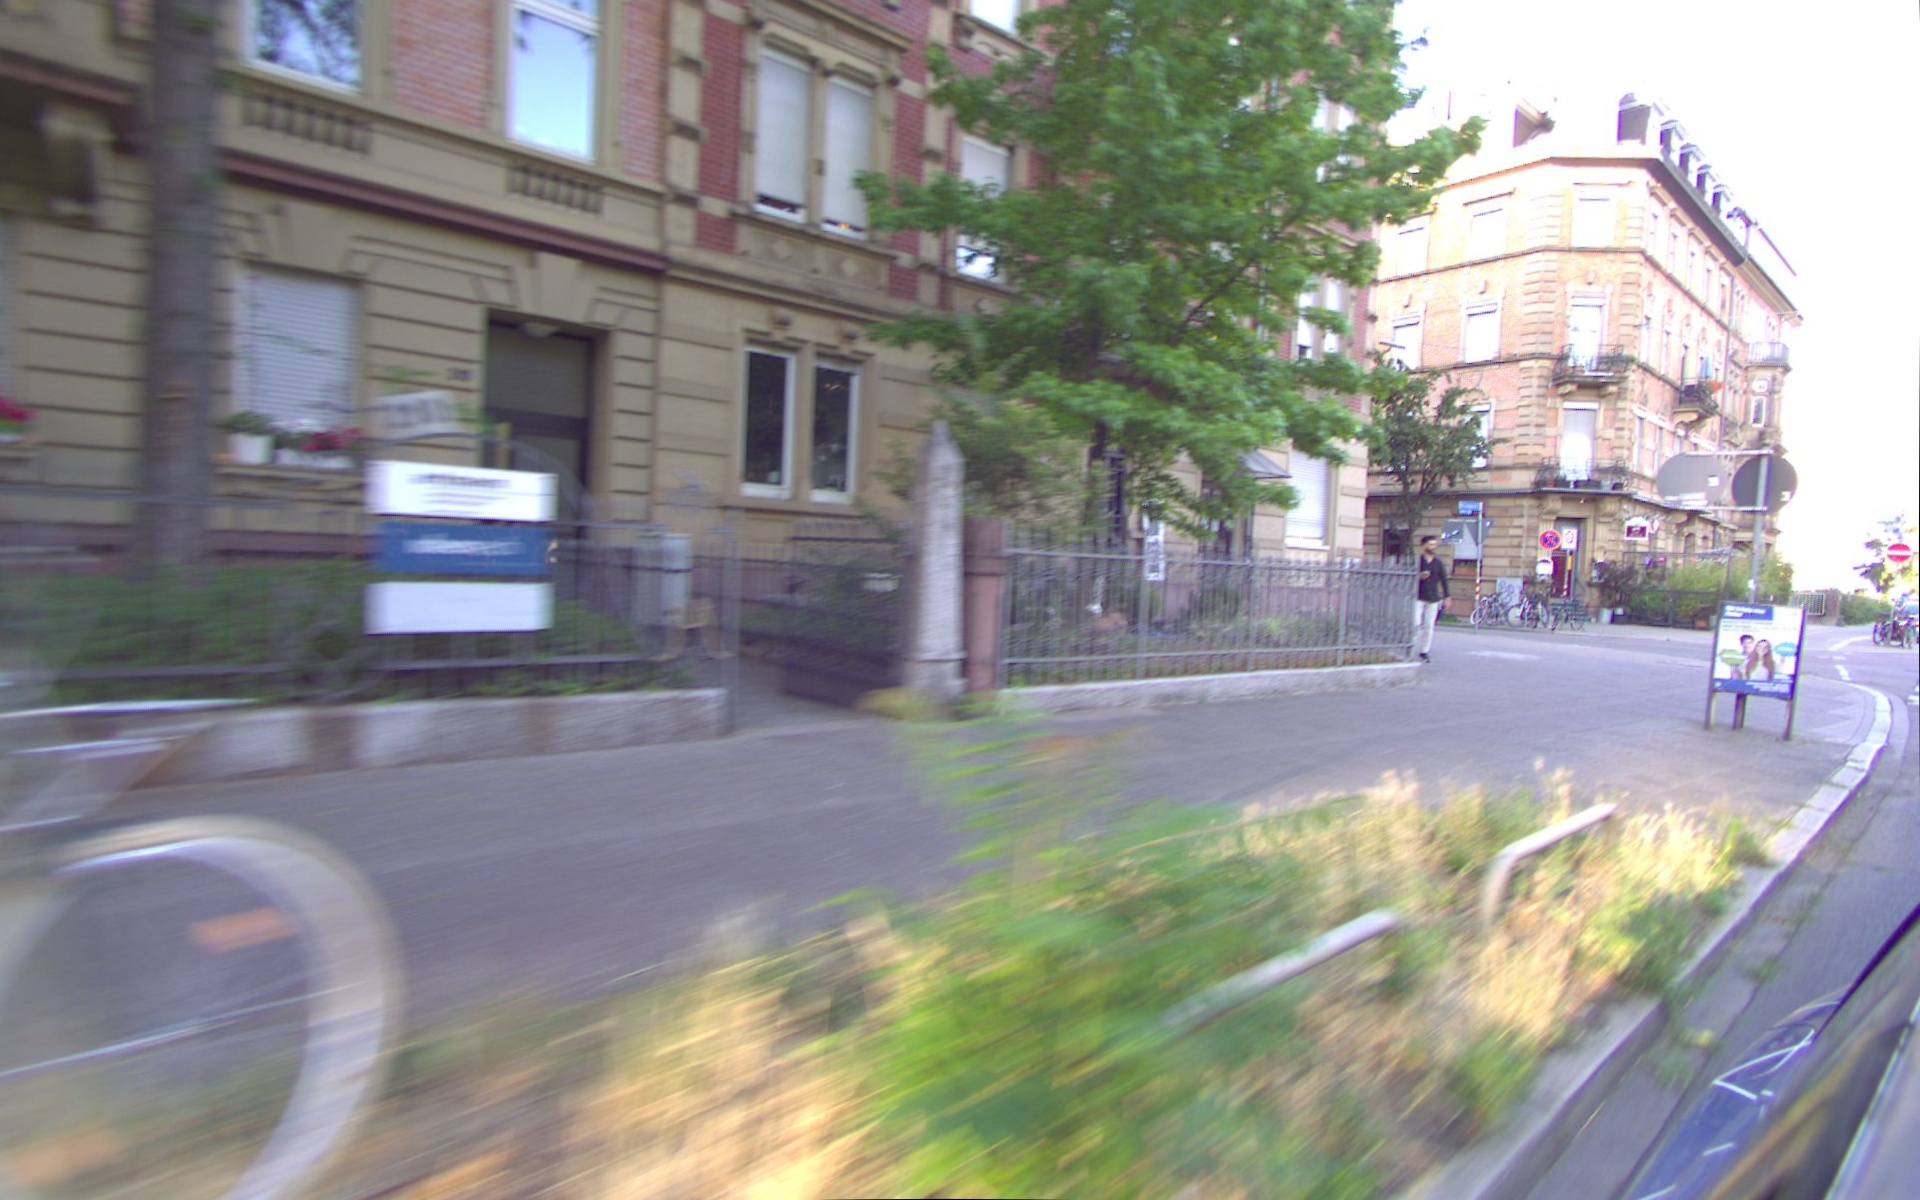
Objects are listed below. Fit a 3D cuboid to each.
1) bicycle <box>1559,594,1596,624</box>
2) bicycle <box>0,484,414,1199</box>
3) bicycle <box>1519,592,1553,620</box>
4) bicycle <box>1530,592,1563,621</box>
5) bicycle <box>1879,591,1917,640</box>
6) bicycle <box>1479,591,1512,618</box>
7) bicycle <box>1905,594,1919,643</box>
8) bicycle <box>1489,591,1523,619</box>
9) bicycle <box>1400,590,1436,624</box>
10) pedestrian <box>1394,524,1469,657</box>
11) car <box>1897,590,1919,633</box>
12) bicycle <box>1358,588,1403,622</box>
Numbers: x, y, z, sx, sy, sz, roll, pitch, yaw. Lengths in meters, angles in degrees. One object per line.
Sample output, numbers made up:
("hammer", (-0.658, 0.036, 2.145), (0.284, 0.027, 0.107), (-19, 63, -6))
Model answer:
("bicycle", (18.664, 0.273, 30.581), (1.702, 0.827, 0.295), (-2, 2, -34))
("bicycle", (-1.849, 0.425, 1.317), (1.898, 1.181, 0.647), (0, 1, -43))
("bicycle", (18.097, 0.192, 31.787), (1.469, 0.827, 0.295), (-2, 2, -34))
("bicycle", (18.279, 0.194, 31.527), (1.469, 0.827, 0.295), (-2, 2, -34))
("bicycle", (27.910, 0.437, 30.107), (2.227, 1.289, 0.566), (-2, 8, -44))
("bicycle", (17.263, 0.145, 32.607), (1.469, 0.827, 0.295), (-2, 2, -34))
("bicycle", (28.303, 0.547, 29.692), (2.227, 1.314, 0.566), (-2, 8, -44))
("bicycle", (17.459, 0.160, 32.350), (1.469, 0.827, 0.295), (-2, 2, -34))
("bicycle", (12.011, 0.191, 26.527), (1.472, 0.827, 0.291), (5, -2, -43))
("pedestrian", (6.809, -0.154, 14.607), (0.742, 1.799, 0.823), (7, 5, 30))
("car", (35.301, 0.478, 36.525), (3.486, 1.482, 1.730), (0, 6, -42))
("bicycle", (11.247, 0.135, 27.055), (1.467, 0.827, 0.295), (4, -2, -31))
